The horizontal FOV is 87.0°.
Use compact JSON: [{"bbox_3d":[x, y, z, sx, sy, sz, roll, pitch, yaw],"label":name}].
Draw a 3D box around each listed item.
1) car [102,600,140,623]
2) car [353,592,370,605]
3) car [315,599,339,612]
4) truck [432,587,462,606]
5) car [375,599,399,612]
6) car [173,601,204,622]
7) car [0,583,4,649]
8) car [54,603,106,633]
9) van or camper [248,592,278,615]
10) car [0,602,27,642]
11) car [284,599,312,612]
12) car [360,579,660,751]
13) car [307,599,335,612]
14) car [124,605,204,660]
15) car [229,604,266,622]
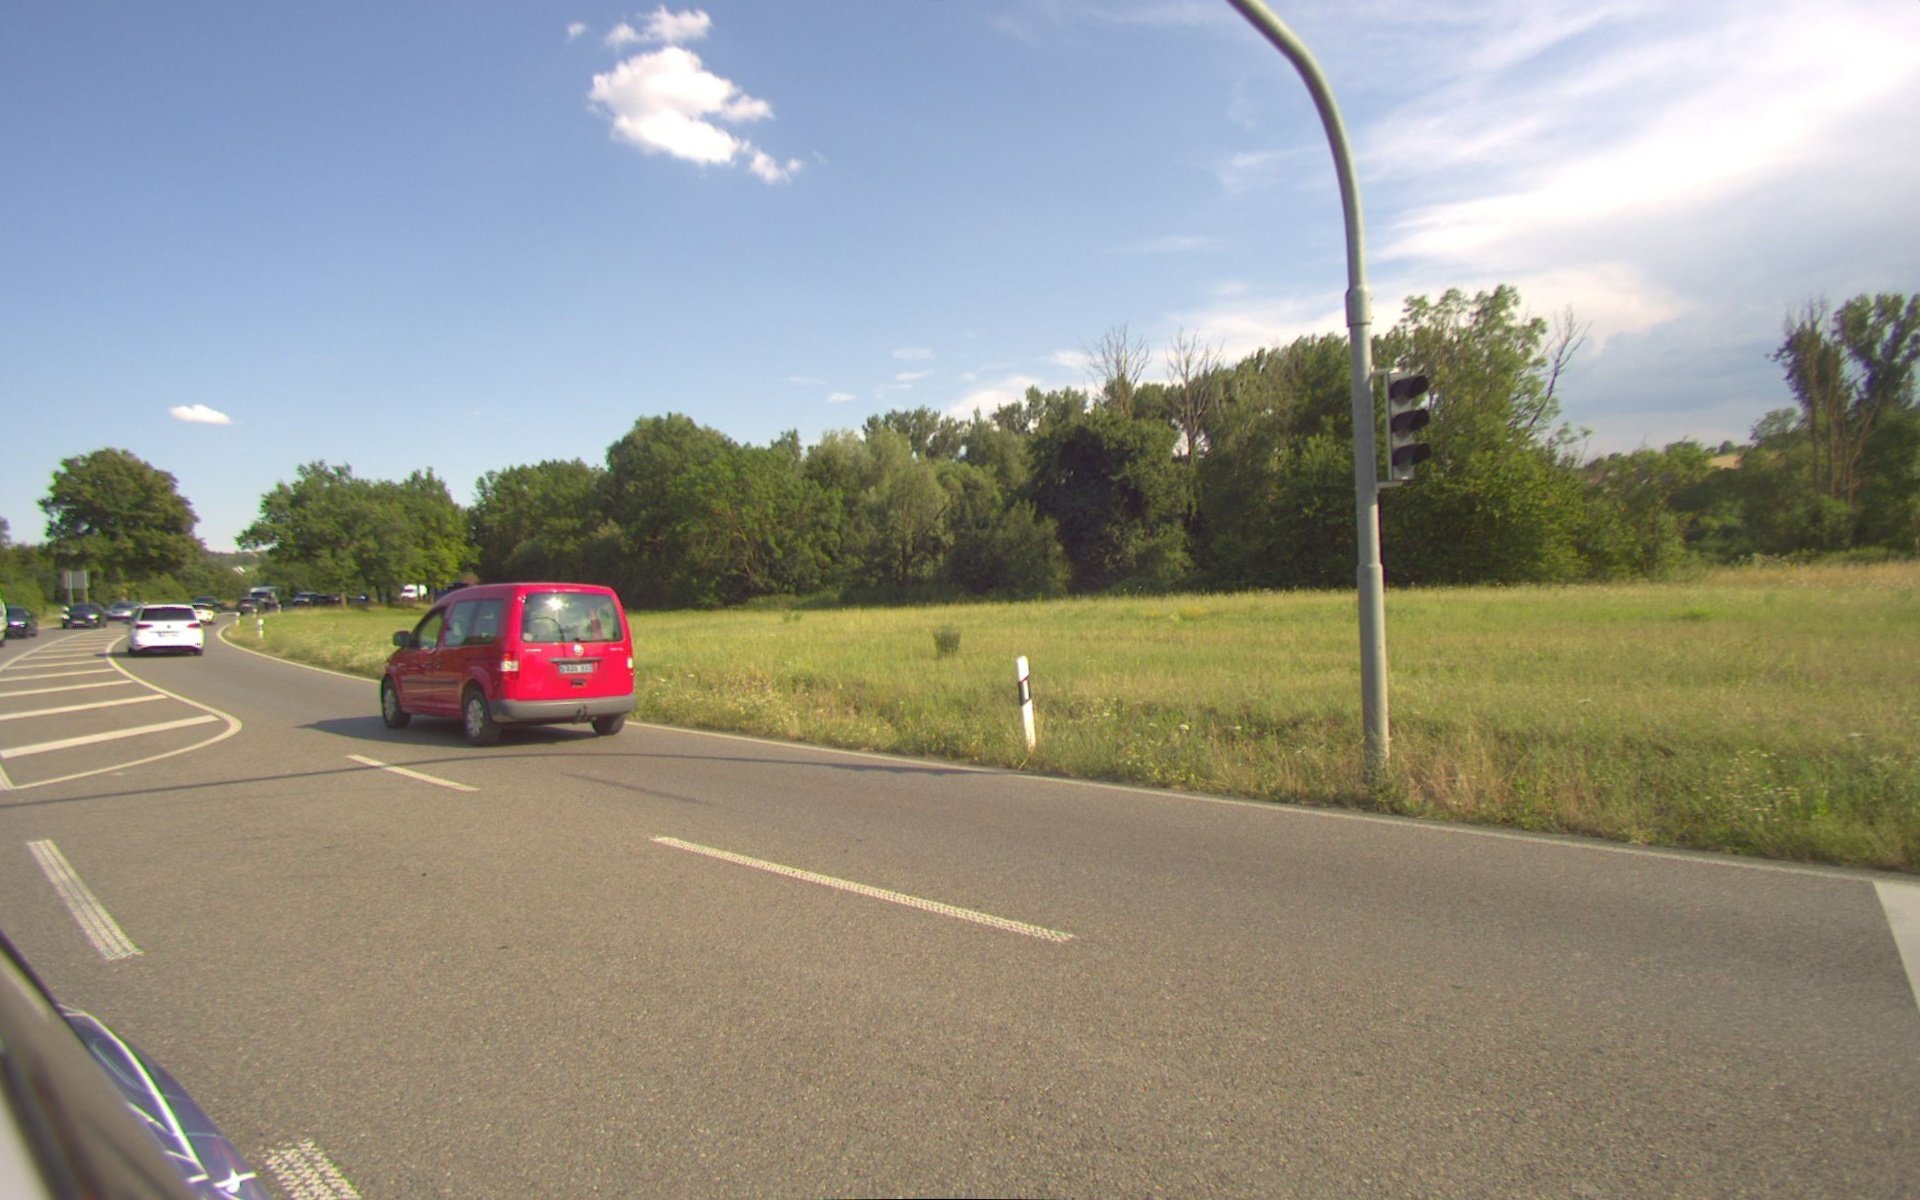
[{"bbox_3d":[-62.451,0.843,75.357,1.608,1.570,3.427,2,-1,-31],"label":"car"},{"bbox_3d":[-93.132,-0.273,157.430,1.385,2.028,3.244,-2,1,-15],"label":"car"},{"bbox_3d":[-89.965,0.775,143.880,1.966,1.563,4.013,-3,2,-18],"label":"car"},{"bbox_3d":[-90.240,-0.609,178.092,2.878,3.237,6.697,-2,1,-11],"label":"truck"},{"bbox_3d":[-86.327,0.810,152.490,1.967,1.871,4.010,-3,2,-11],"label":"car"},{"bbox_3d":[-74.620,1.128,97.913,1.613,1.913,3.517,-3,1,-27],"label":"car"},{"bbox_3d":[-34.894,0.569,35.417,1.817,2.369,4.796,1,-1,-41],"label":"car"},{"bbox_3d":[-52.109,1.034,59.995,1.646,1.741,3.680,0,0,-30],"label":"car"},{"bbox_3d":[-81.788,0.388,118.816,2.000,2.494,5.094,-3,1,-24],"label":"van or camper"},{"bbox_3d":[-43.059,0.955,45.364,1.668,1.741,3.674,1,-1,-41],"label":"car"},{"bbox_3d":[-85.779,0.676,131.134,1.966,1.563,4.012,-3,2,-17],"label":"car"},{"bbox_3d":[-5.761,0.739,12.711,4.320,1.789,1.860,-2,-2,42],"label":"car"},{"bbox_3d":[-80.296,0.667,127.183,1.966,1.563,4.012,-3,2,-17],"label":"car"},{"bbox_3d":[-25.212,1.019,32.088,1.856,1.598,4.338,1,-2,-38],"label":"car"},{"bbox_3d":[-66.530,1.190,94.513,1.900,1.598,4.087,1,-1,-21],"label":"car"}]
